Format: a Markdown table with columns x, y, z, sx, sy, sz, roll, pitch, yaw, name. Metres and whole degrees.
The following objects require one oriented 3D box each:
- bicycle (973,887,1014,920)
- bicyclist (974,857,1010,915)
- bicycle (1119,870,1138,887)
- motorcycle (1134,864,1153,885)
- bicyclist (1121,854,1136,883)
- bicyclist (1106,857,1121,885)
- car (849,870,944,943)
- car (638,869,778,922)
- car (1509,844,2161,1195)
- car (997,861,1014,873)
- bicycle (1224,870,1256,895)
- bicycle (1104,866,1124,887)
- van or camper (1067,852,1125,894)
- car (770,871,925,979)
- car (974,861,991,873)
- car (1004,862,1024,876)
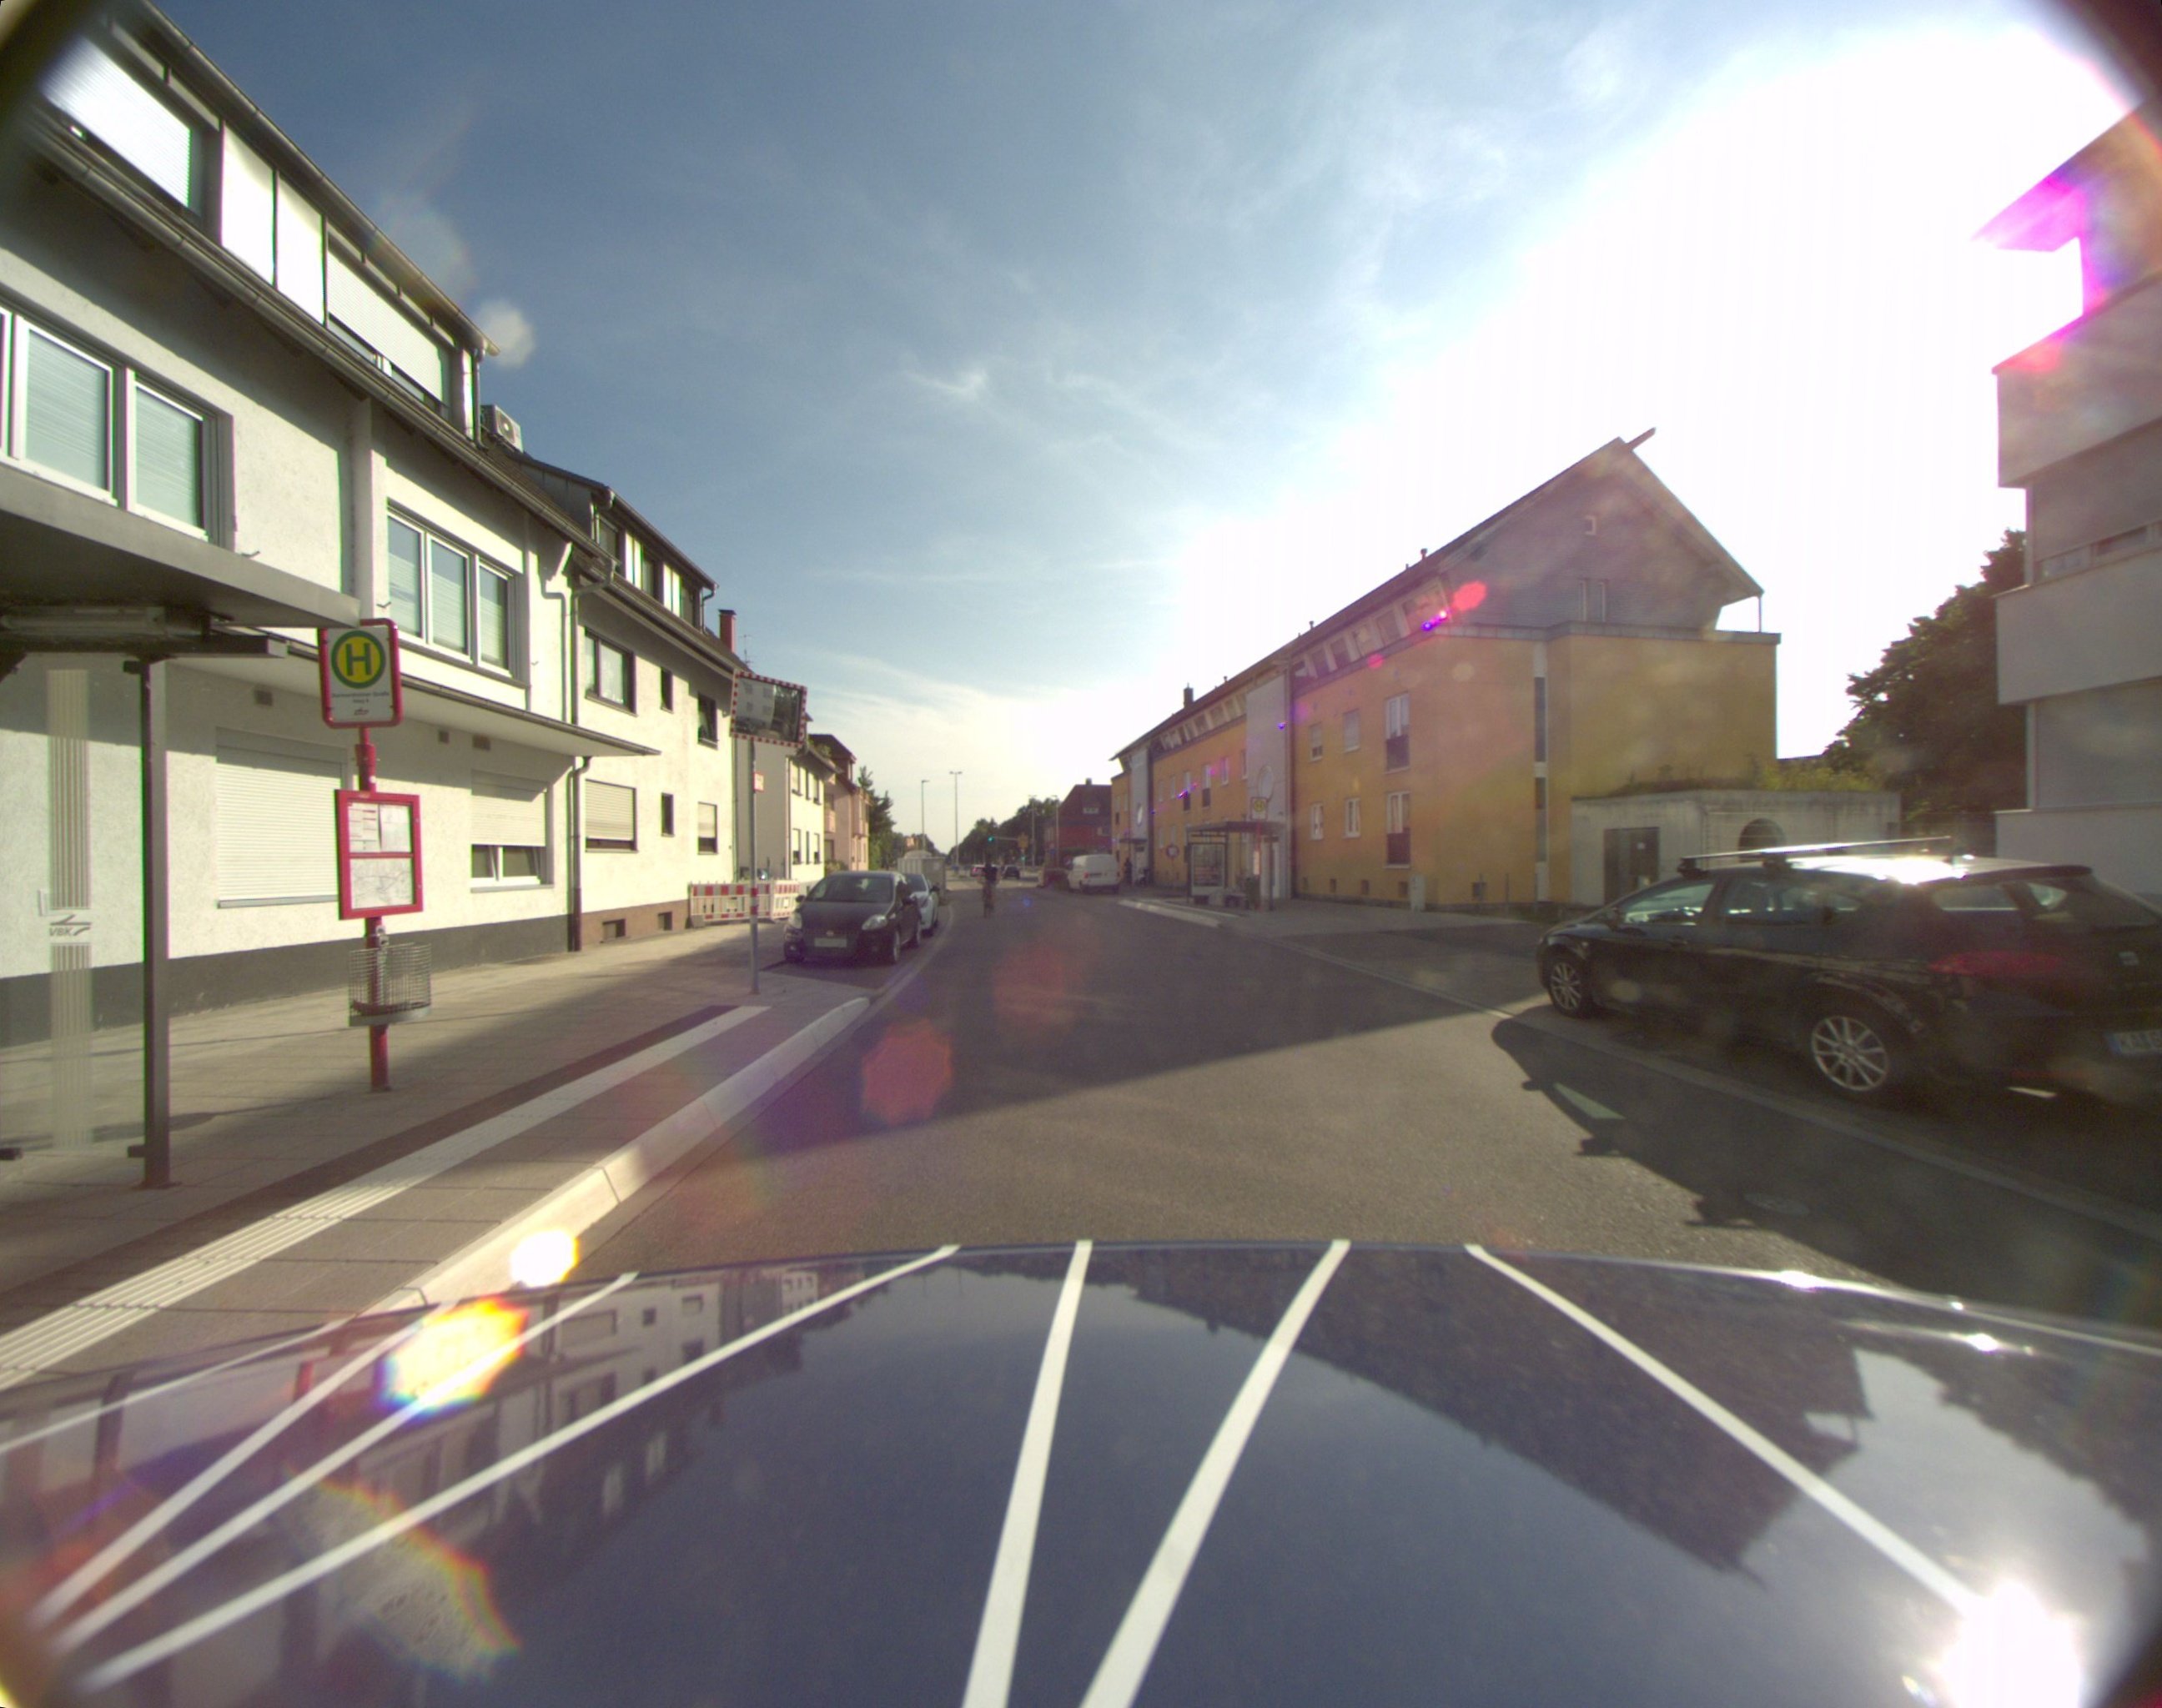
| x | y | z | sx | sy | sz | roll | pitch | yaw | name |
| --- | --- | --- | --- | --- | --- | --- | --- | --- | --- |
| -2.615 | 1.466 | 22.939 | 0.679 | 0.849 | 2.028 | -2 | 0 | 10 | bicycle |
| -2.678 | 0.958 | 22.952 | 0.845 | 1.679 | 0.878 | -2 | 1 | 8 | bicyclist |
| 2.763 | 1.401 | 44.387 | 0.693 | 0.907 | 1.872 | -2 | 0 | -10 | bicycle |
| 3.741 | 1.230 | 45.548 | 0.584 | 1.176 | 1.876 | -2 | 0 | -14 | motorcycle |
| 2.751 | 0.831 | 44.317 | 0.676 | 1.659 | 0.665 | -2 | 1 | -10 | bicyclist |
| 1.875 | 0.971 | 44.026 | 0.672 | 1.594 | 0.727 | -2 | 0 | -14 | bicyclist |
| -4.225 | 1.152 | 17.988 | 1.721 | 1.390 | 4.331 | 3 | -1 | -8 | car |
| -12.340 | 1.359 | 25.348 | 3.752 | 1.557 | 1.794 | -1 | 0 | -8 | car |
| 5.401 | 0.801 | 5.779 | 1.780 | 1.612 | 4.177 | -3 | 0 | -1 | car |
| -9.383 | 1.581 | 94.169 | 1.796 | 1.433 | 3.996 | -1 | 0 | -10 | car |
| 6.774 | 1.182 | 32.447 | 0.718 | 0.991 | 1.905 | -2 | 0 | -9 | bicycle |
| 1.904 | 1.296 | 44.090 | 0.614 | 1.154 | 2.020 | -2 | 0 | -14 | bicycle |
| 0.694 | 0.936 | 39.412 | 2.000 | 1.991 | 4.916 | -2 | 0 | -11 | van or camper |
| -3.740 | 1.073 | 12.858 | 1.612 | 1.412 | 3.918 | 2 | 0 | -4 | car |
| -12.435 | 1.597 | 95.725 | 1.983 | 1.520 | 3.996 | -1 | 0 | -10 | car |
| -7.443 | 1.684 | 83.742 | 1.796 | 1.433 | 3.997 | -2 | 0 | -10 | car |
